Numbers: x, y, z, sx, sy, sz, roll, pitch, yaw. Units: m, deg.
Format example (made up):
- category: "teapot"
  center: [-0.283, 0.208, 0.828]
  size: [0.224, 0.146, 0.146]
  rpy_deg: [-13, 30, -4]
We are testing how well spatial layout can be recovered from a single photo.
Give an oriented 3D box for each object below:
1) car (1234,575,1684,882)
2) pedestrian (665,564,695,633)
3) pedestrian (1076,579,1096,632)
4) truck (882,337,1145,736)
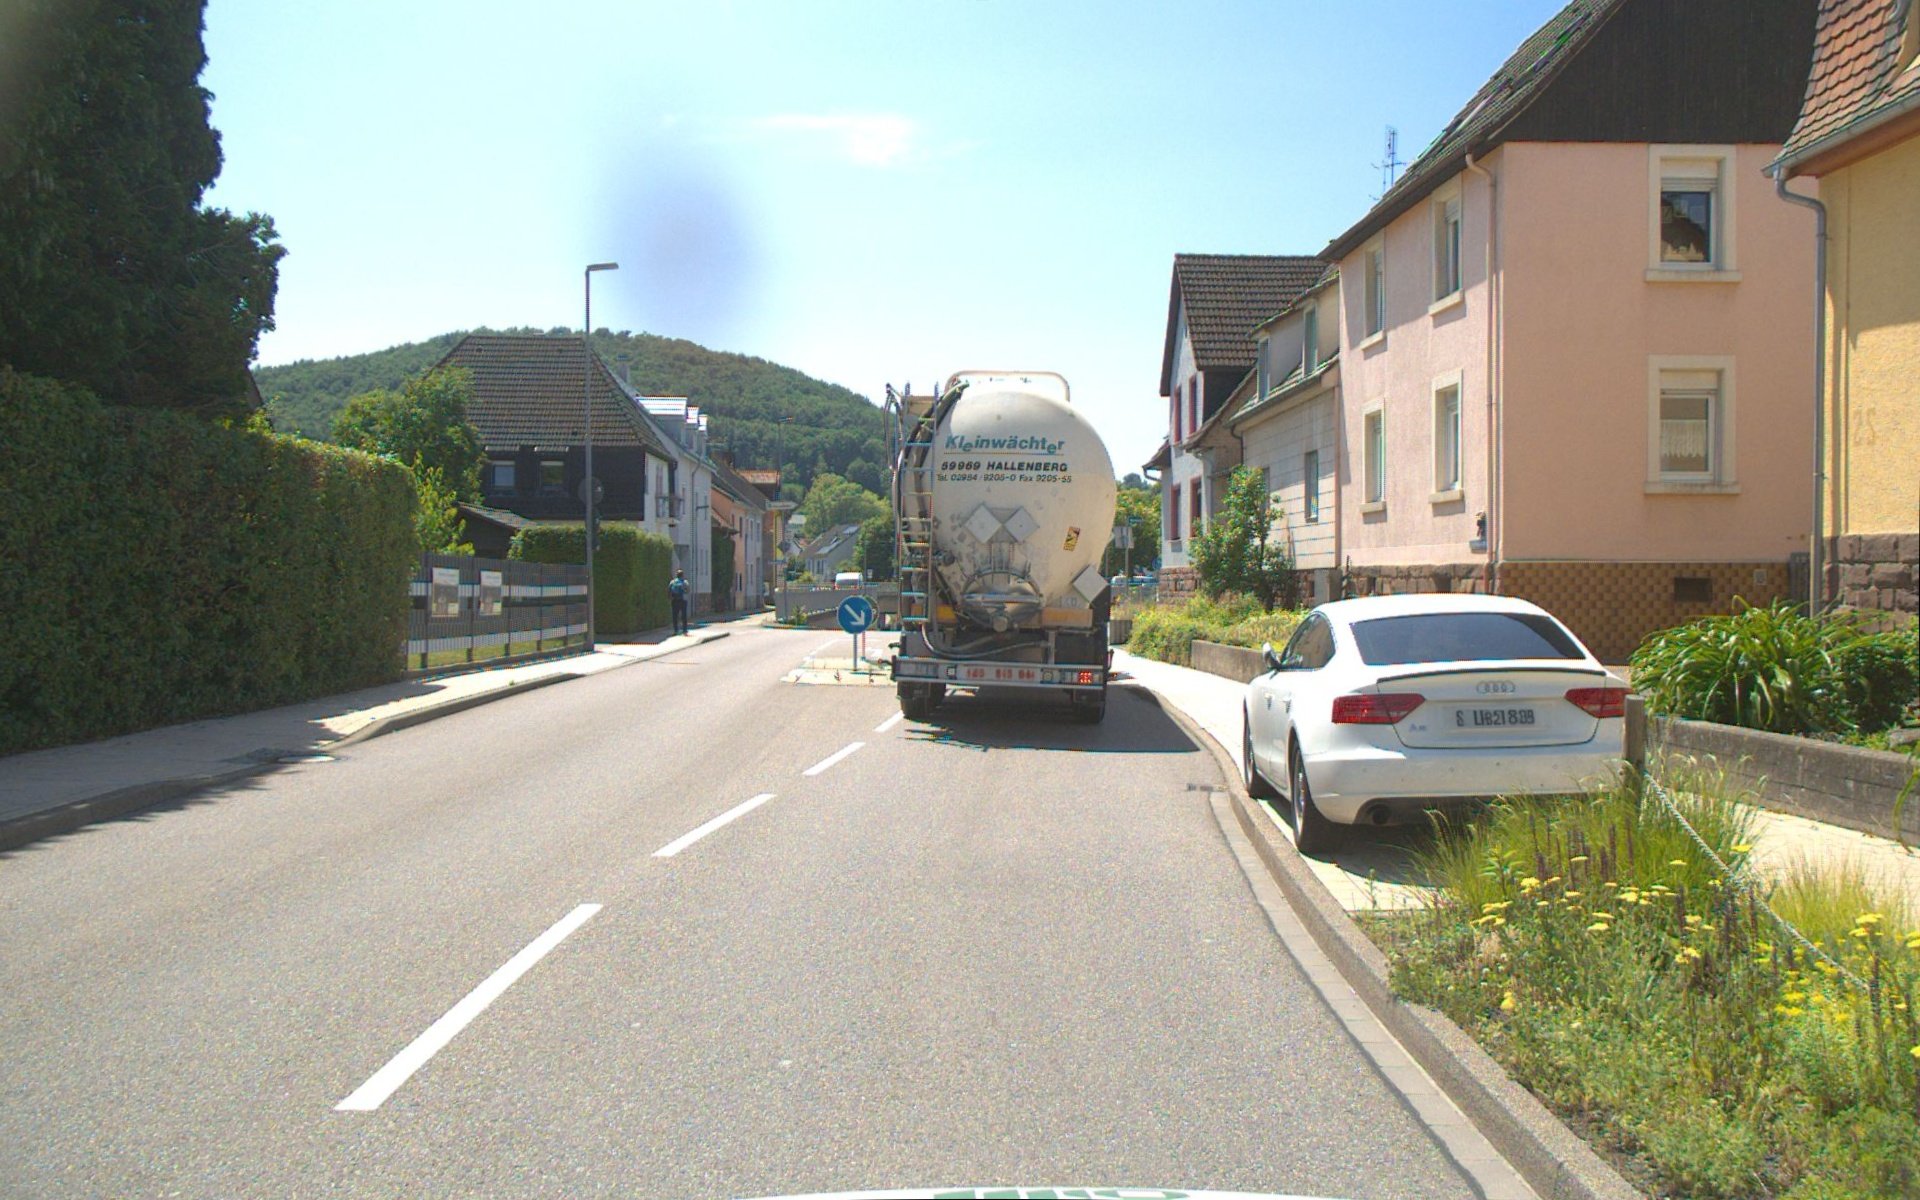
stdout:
- category: "car"
  center: [2.804, 0.665, 10.366]
  size: [1.719, 1.443, 4.635]
  rpy_deg: [-2, -1, 5]
- category: "pedestrian"
  center: [-7.705, -0.035, 45.543]
  size: [0.698, 1.855, 0.897]
  rpy_deg: [2, -1, -6]
- category: "pedestrian"
  center: [4.177, 0.181, 54.861]
  size: [0.559, 1.723, 0.721]
  rpy_deg: [2, -1, 2]
- category: "truck"
  center: [0.324, -0.694, 22.811]
  size: [2.695, 4.127, 10.884]
  rpy_deg: [1, 0, -3]
